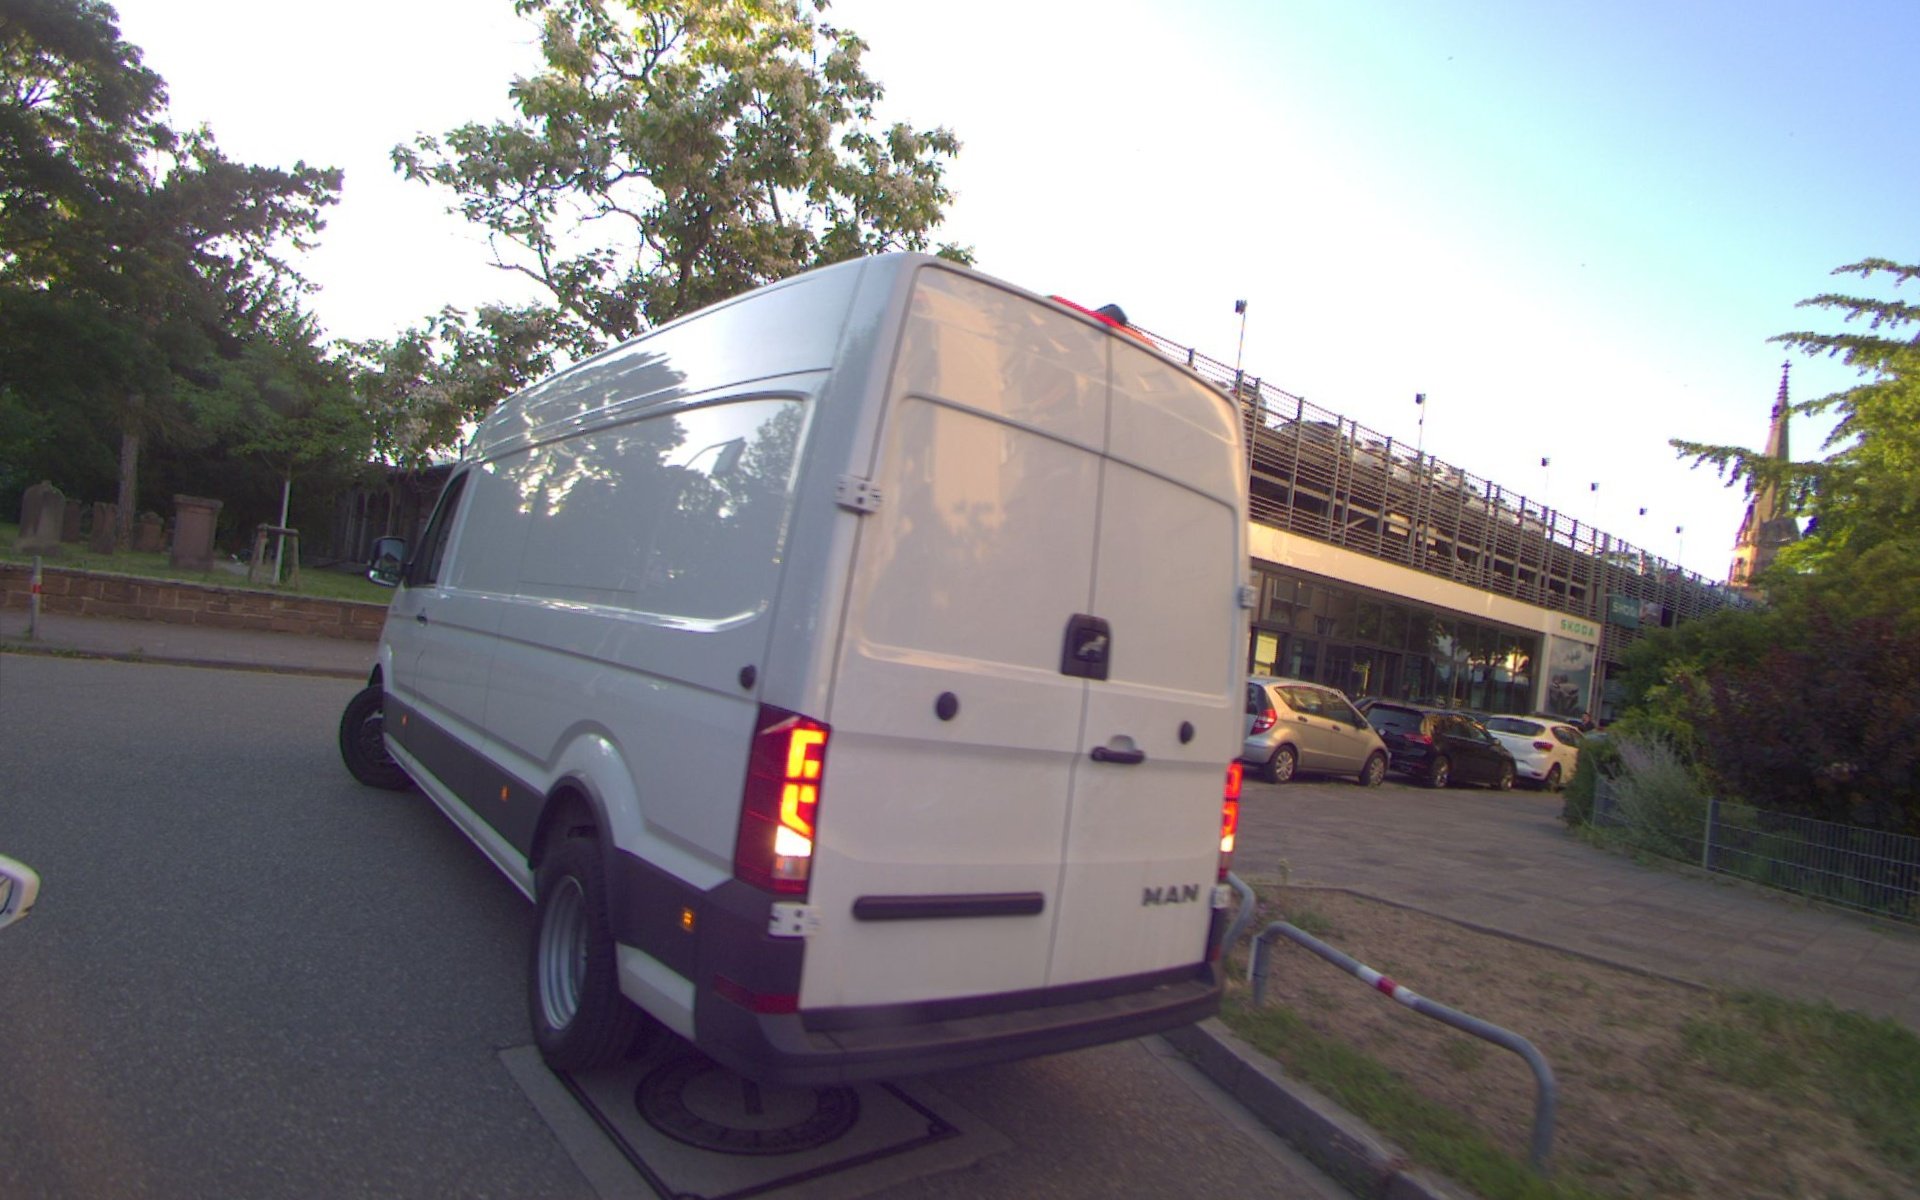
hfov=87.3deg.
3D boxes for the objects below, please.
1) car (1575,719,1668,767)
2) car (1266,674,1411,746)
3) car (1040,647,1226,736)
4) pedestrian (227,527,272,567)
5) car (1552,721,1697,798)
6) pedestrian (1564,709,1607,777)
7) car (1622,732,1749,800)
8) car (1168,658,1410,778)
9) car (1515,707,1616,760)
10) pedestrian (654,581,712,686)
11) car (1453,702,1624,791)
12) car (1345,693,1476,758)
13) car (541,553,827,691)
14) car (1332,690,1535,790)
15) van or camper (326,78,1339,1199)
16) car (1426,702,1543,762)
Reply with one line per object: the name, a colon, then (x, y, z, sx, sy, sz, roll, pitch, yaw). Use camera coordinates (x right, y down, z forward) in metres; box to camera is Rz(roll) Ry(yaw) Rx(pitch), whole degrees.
car: (26.368, 5.708, 40.079, 3.818, 1.521, 1.805, 8, -1, -37)
car: (10.317, 2.992, 27.335, 3.818, 1.521, 1.805, 8, -1, -37)
car: (3.859, 2.047, 22.230, 3.818, 1.521, 1.805, 8, -1, -37)
pedestrian: (-30.113, -2.243, 42.645, 1.324, 1.461, 1.034, 9, -1, -42)
car: (16.917, 4.061, 25.555, 3.818, 1.547, 1.805, 8, -1, -37)
pedestrian: (20.254, 4.618, 32.560, 0.859, 2.037, 0.719, 8, -1, -35)
car: (20.783, 4.759, 28.785, 3.818, 1.547, 1.805, 8, -1, -37)
car: (5.456, 1.966, 16.510, 3.818, 1.541, 1.805, 8, -1, -37)
car: (22.298, 4.925, 37.015, 3.818, 1.521, 1.805, 8, -1, -37)
pedestrian: (-5.139, 0.615, 18.672, 0.591, 1.829, 0.614, 10, -2, -40)
car: (12.774, 3.247, 22.135, 3.818, 1.547, 1.805, 8, -1, -37)
car: (13.379, 3.726, 29.812, 3.818, 1.521, 1.805, 8, -1, -37)
car: (-4.356, 0.397, 16.208, 3.846, 1.591, 1.934, 11, -3, -43)
car: (9.048, 2.684, 19.130, 3.818, 1.480, 1.805, 8, -1, -37)
van or camper: (-1.581, 0.167, 5.299, 1.986, 2.646, 6.336, 10, -4, -38)
car: (17.034, 4.285, 32.629, 3.818, 1.521, 1.805, 8, -1, -37)
